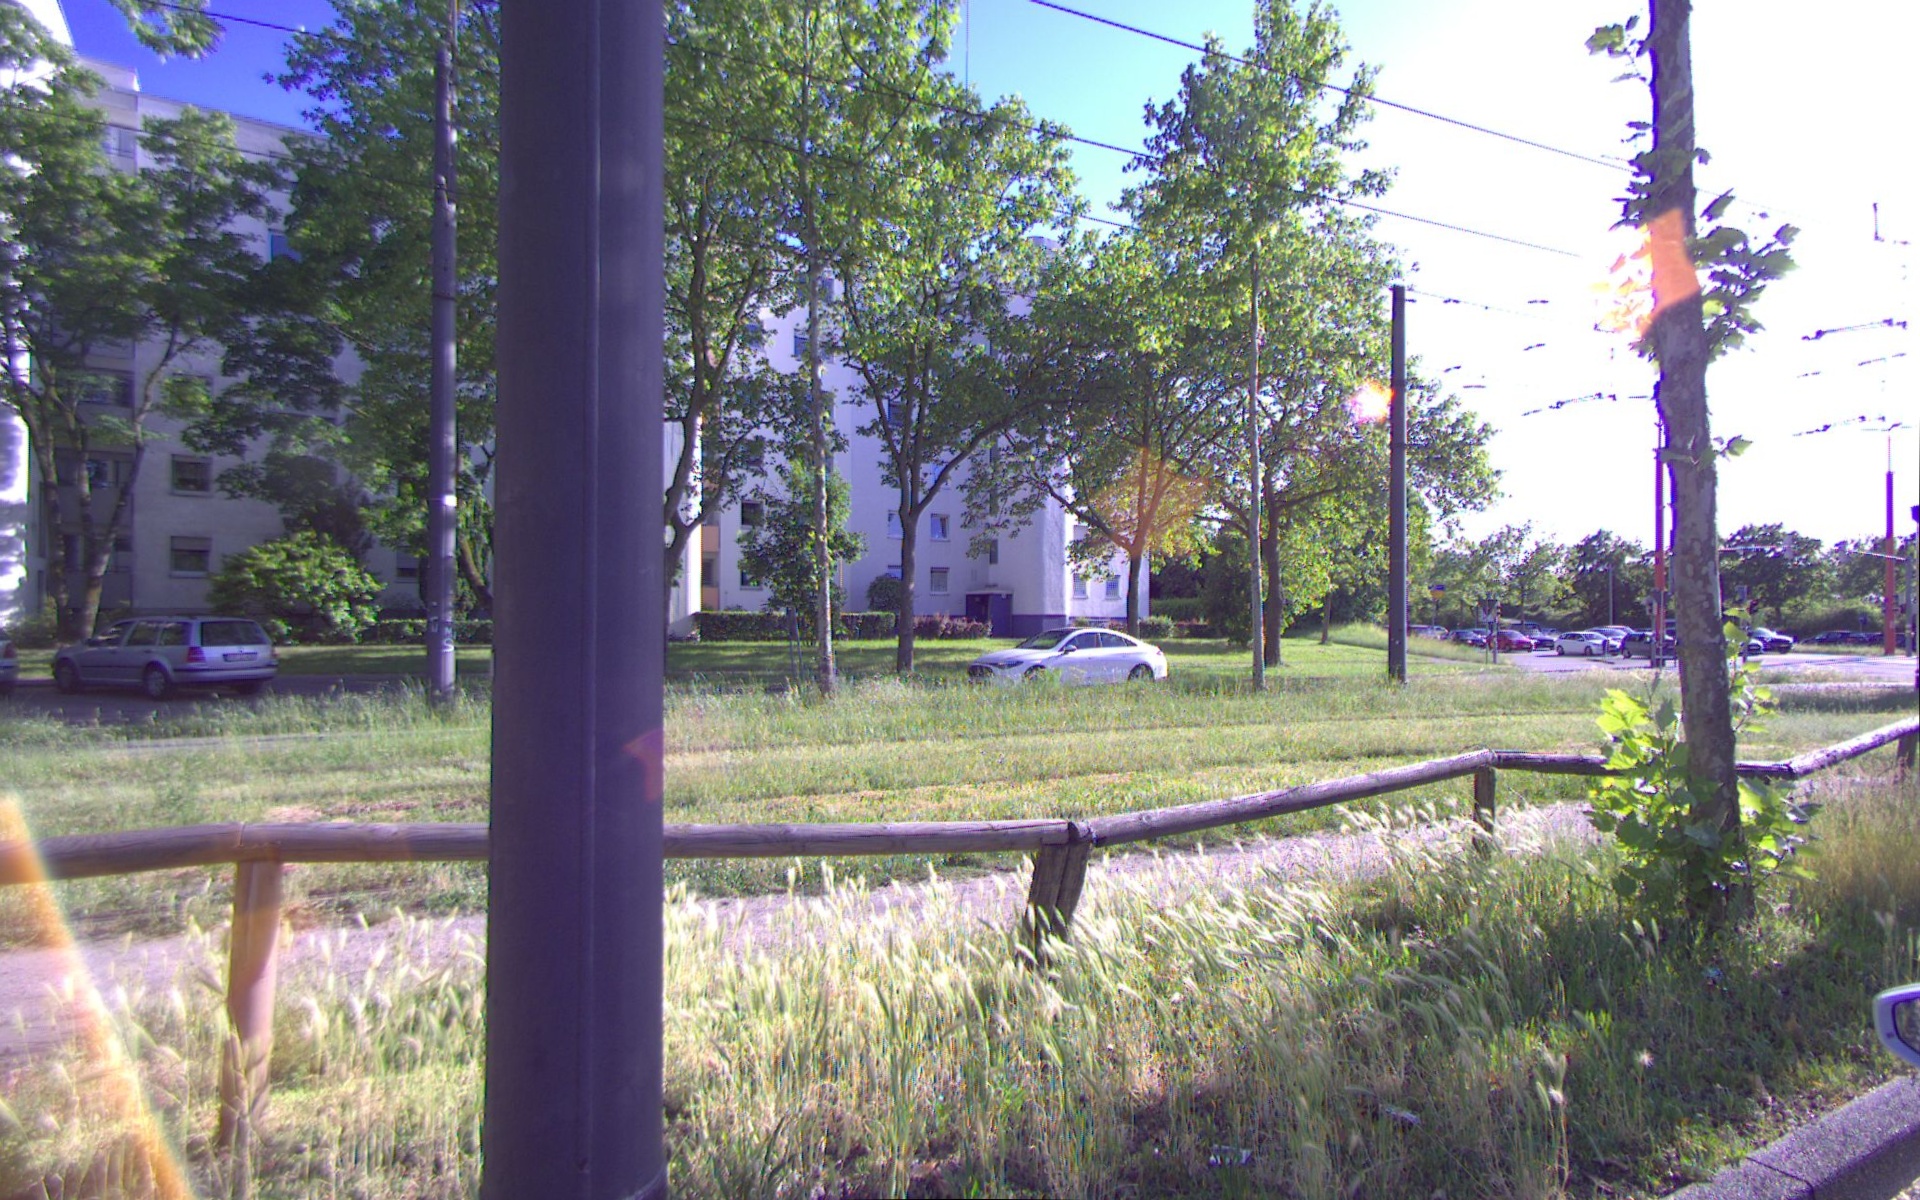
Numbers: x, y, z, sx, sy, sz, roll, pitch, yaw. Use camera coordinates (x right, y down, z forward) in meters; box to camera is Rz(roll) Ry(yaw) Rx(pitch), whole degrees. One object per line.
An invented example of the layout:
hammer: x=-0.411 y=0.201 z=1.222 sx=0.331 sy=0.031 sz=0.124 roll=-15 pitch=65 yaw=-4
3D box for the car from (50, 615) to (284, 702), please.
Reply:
car: x=-14.539 y=1.009 z=18.427 sx=3.830 sy=1.421 sz=1.581 roll=1 pitch=0 yaw=20

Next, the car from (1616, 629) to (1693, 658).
car: x=38.960 y=2.405 z=56.448 sx=1.624 sy=1.460 sz=3.841 roll=1 pitch=-1 yaw=-2

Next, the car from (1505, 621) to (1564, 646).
car: x=42.264 y=2.428 z=74.069 sx=1.721 sy=1.669 sz=4.644 roll=1 pitch=-1 yaw=1

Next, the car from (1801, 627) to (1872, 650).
car: x=59.933 y=2.625 z=68.757 sx=1.624 sy=1.421 sz=3.805 roll=1 pitch=-1 yaw=1

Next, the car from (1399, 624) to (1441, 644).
car: x=38.638 y=2.811 z=84.392 sx=1.624 sy=1.540 sz=4.200 roll=1 pitch=-1 yaw=1

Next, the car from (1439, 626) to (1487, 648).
car: x=38.655 y=2.812 z=77.253 sx=1.624 sy=1.540 sz=4.200 roll=1 pitch=-1 yaw=1

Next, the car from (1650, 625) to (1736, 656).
car: x=42.322 y=2.305 z=58.104 sx=1.624 sy=1.669 sz=4.644 roll=1 pitch=-1 yaw=1

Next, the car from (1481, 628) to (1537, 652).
car: x=38.443 y=2.773 z=70.450 sx=1.624 sy=1.540 sz=4.200 roll=1 pitch=-1 yaw=1

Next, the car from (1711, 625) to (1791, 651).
car: x=48.648 y=2.319 z=61.895 sx=1.513 sy=1.434 sz=4.154 roll=1 pitch=-1 yaw=-3

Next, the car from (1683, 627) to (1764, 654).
car: x=45.569 y=2.390 z=60.062 sx=1.513 sy=1.434 sz=4.154 roll=1 pitch=-1 yaw=-3

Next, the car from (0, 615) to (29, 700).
car: x=-17.989 y=0.946 z=17.153 sx=3.567 sy=1.421 sz=1.581 roll=1 pitch=0 yaw=20

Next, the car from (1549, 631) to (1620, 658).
car: x=38.913 y=2.752 z=62.735 sx=1.624 sy=1.540 sz=4.638 roll=1 pitch=-1 yaw=1

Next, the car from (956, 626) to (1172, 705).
car: x=2.303 y=1.356 z=21.770 sx=4.589 sy=1.530 sz=1.643 roll=1 pitch=-1 yaw=-31
